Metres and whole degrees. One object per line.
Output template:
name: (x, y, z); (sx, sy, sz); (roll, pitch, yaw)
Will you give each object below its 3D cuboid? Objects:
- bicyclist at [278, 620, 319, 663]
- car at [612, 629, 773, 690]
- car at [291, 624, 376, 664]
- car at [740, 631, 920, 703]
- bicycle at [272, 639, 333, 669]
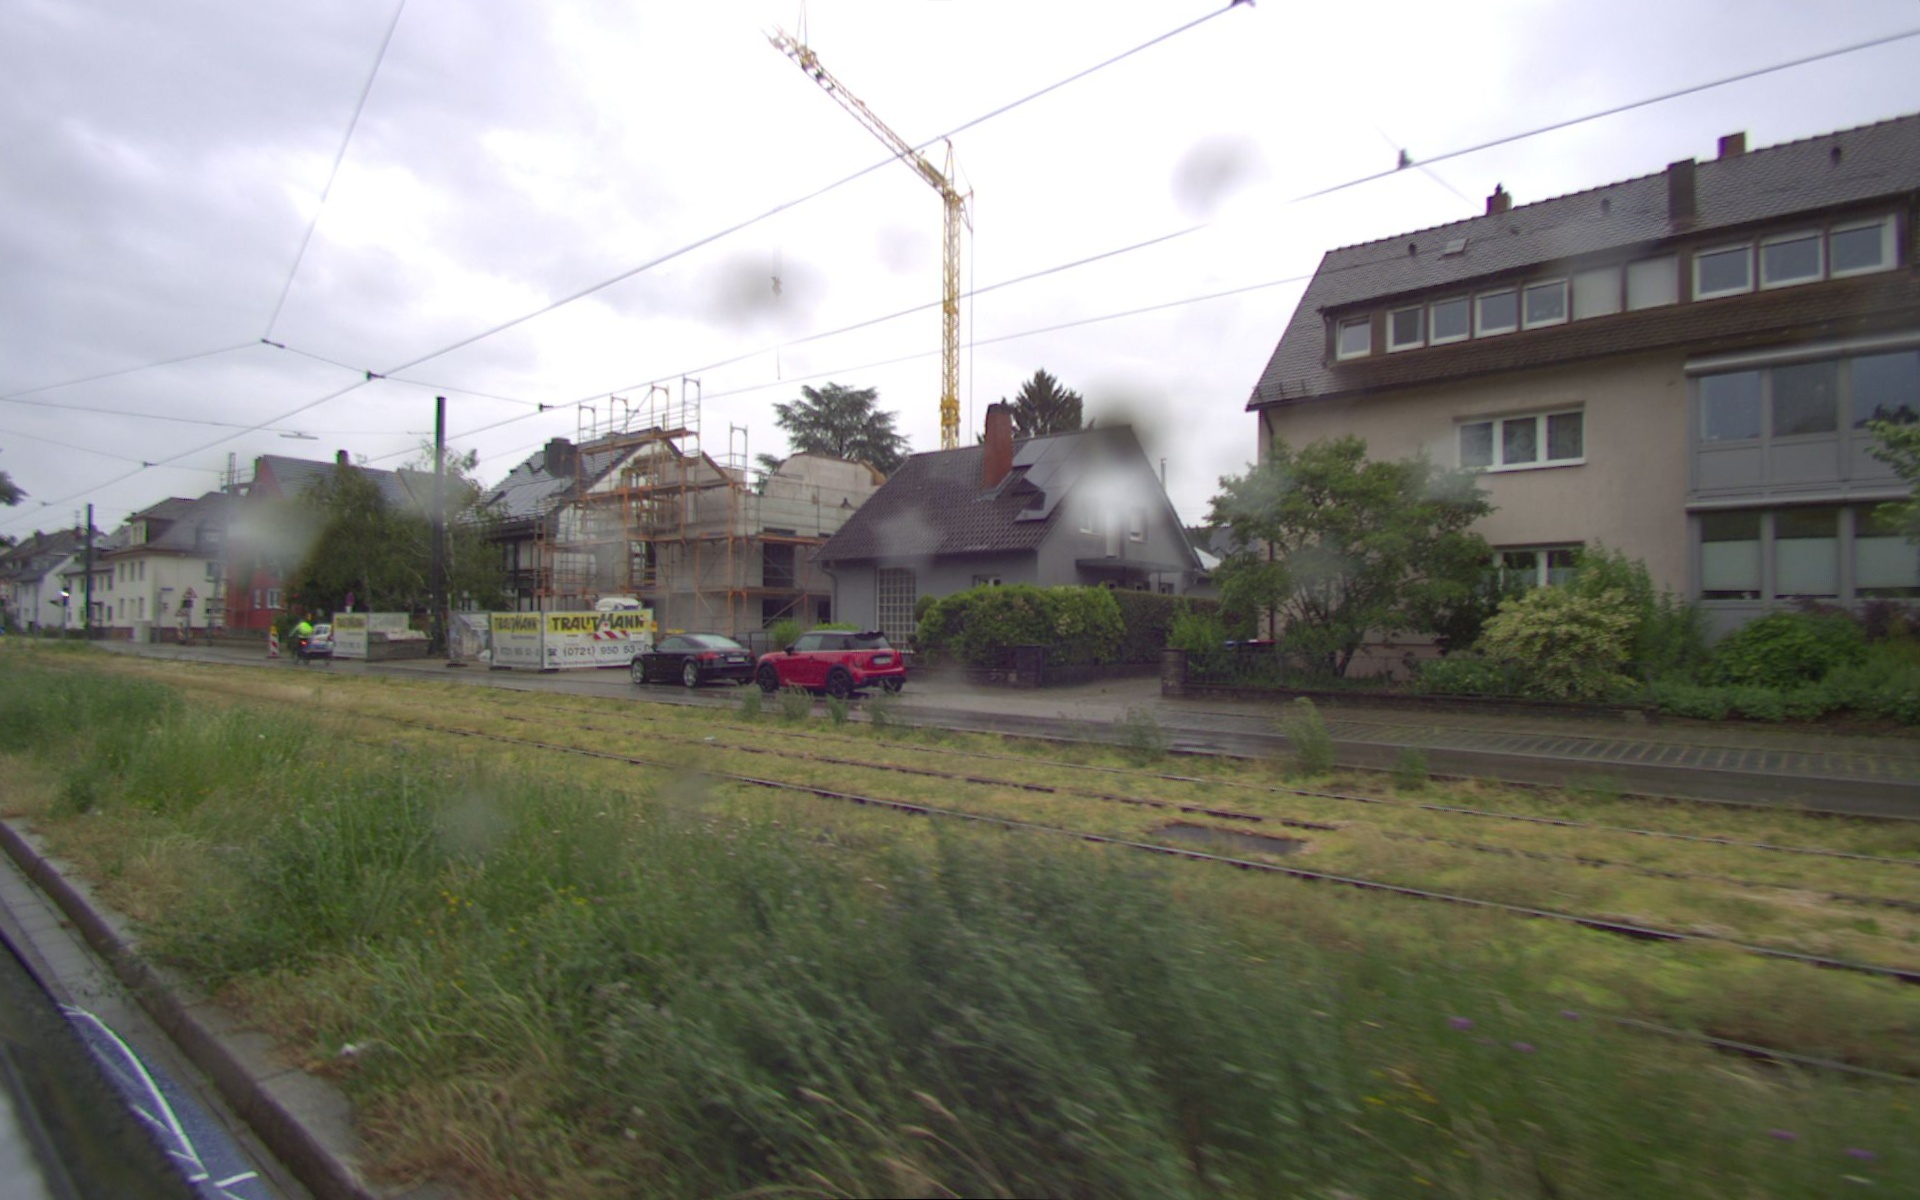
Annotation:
bicyclist: (-25.402, 1.558, 38.841); (1.399, 1.596, 0.944); (0, -1, 40)
car: (-6.945, 1.509, 26.049); (4.171, 1.420, 1.973); (-3, -2, 40)
car: (-28.410, 1.954, 45.858); (4.246, 1.640, 1.974); (0, -1, 39)
car: (-2.971, 1.428, 22.796); (3.840, 1.383, 1.973); (0, -1, 40)
bicycle: (-25.080, 2.036, 38.586); (3.431, 1.051, 0.925); (-1, -3, 39)
